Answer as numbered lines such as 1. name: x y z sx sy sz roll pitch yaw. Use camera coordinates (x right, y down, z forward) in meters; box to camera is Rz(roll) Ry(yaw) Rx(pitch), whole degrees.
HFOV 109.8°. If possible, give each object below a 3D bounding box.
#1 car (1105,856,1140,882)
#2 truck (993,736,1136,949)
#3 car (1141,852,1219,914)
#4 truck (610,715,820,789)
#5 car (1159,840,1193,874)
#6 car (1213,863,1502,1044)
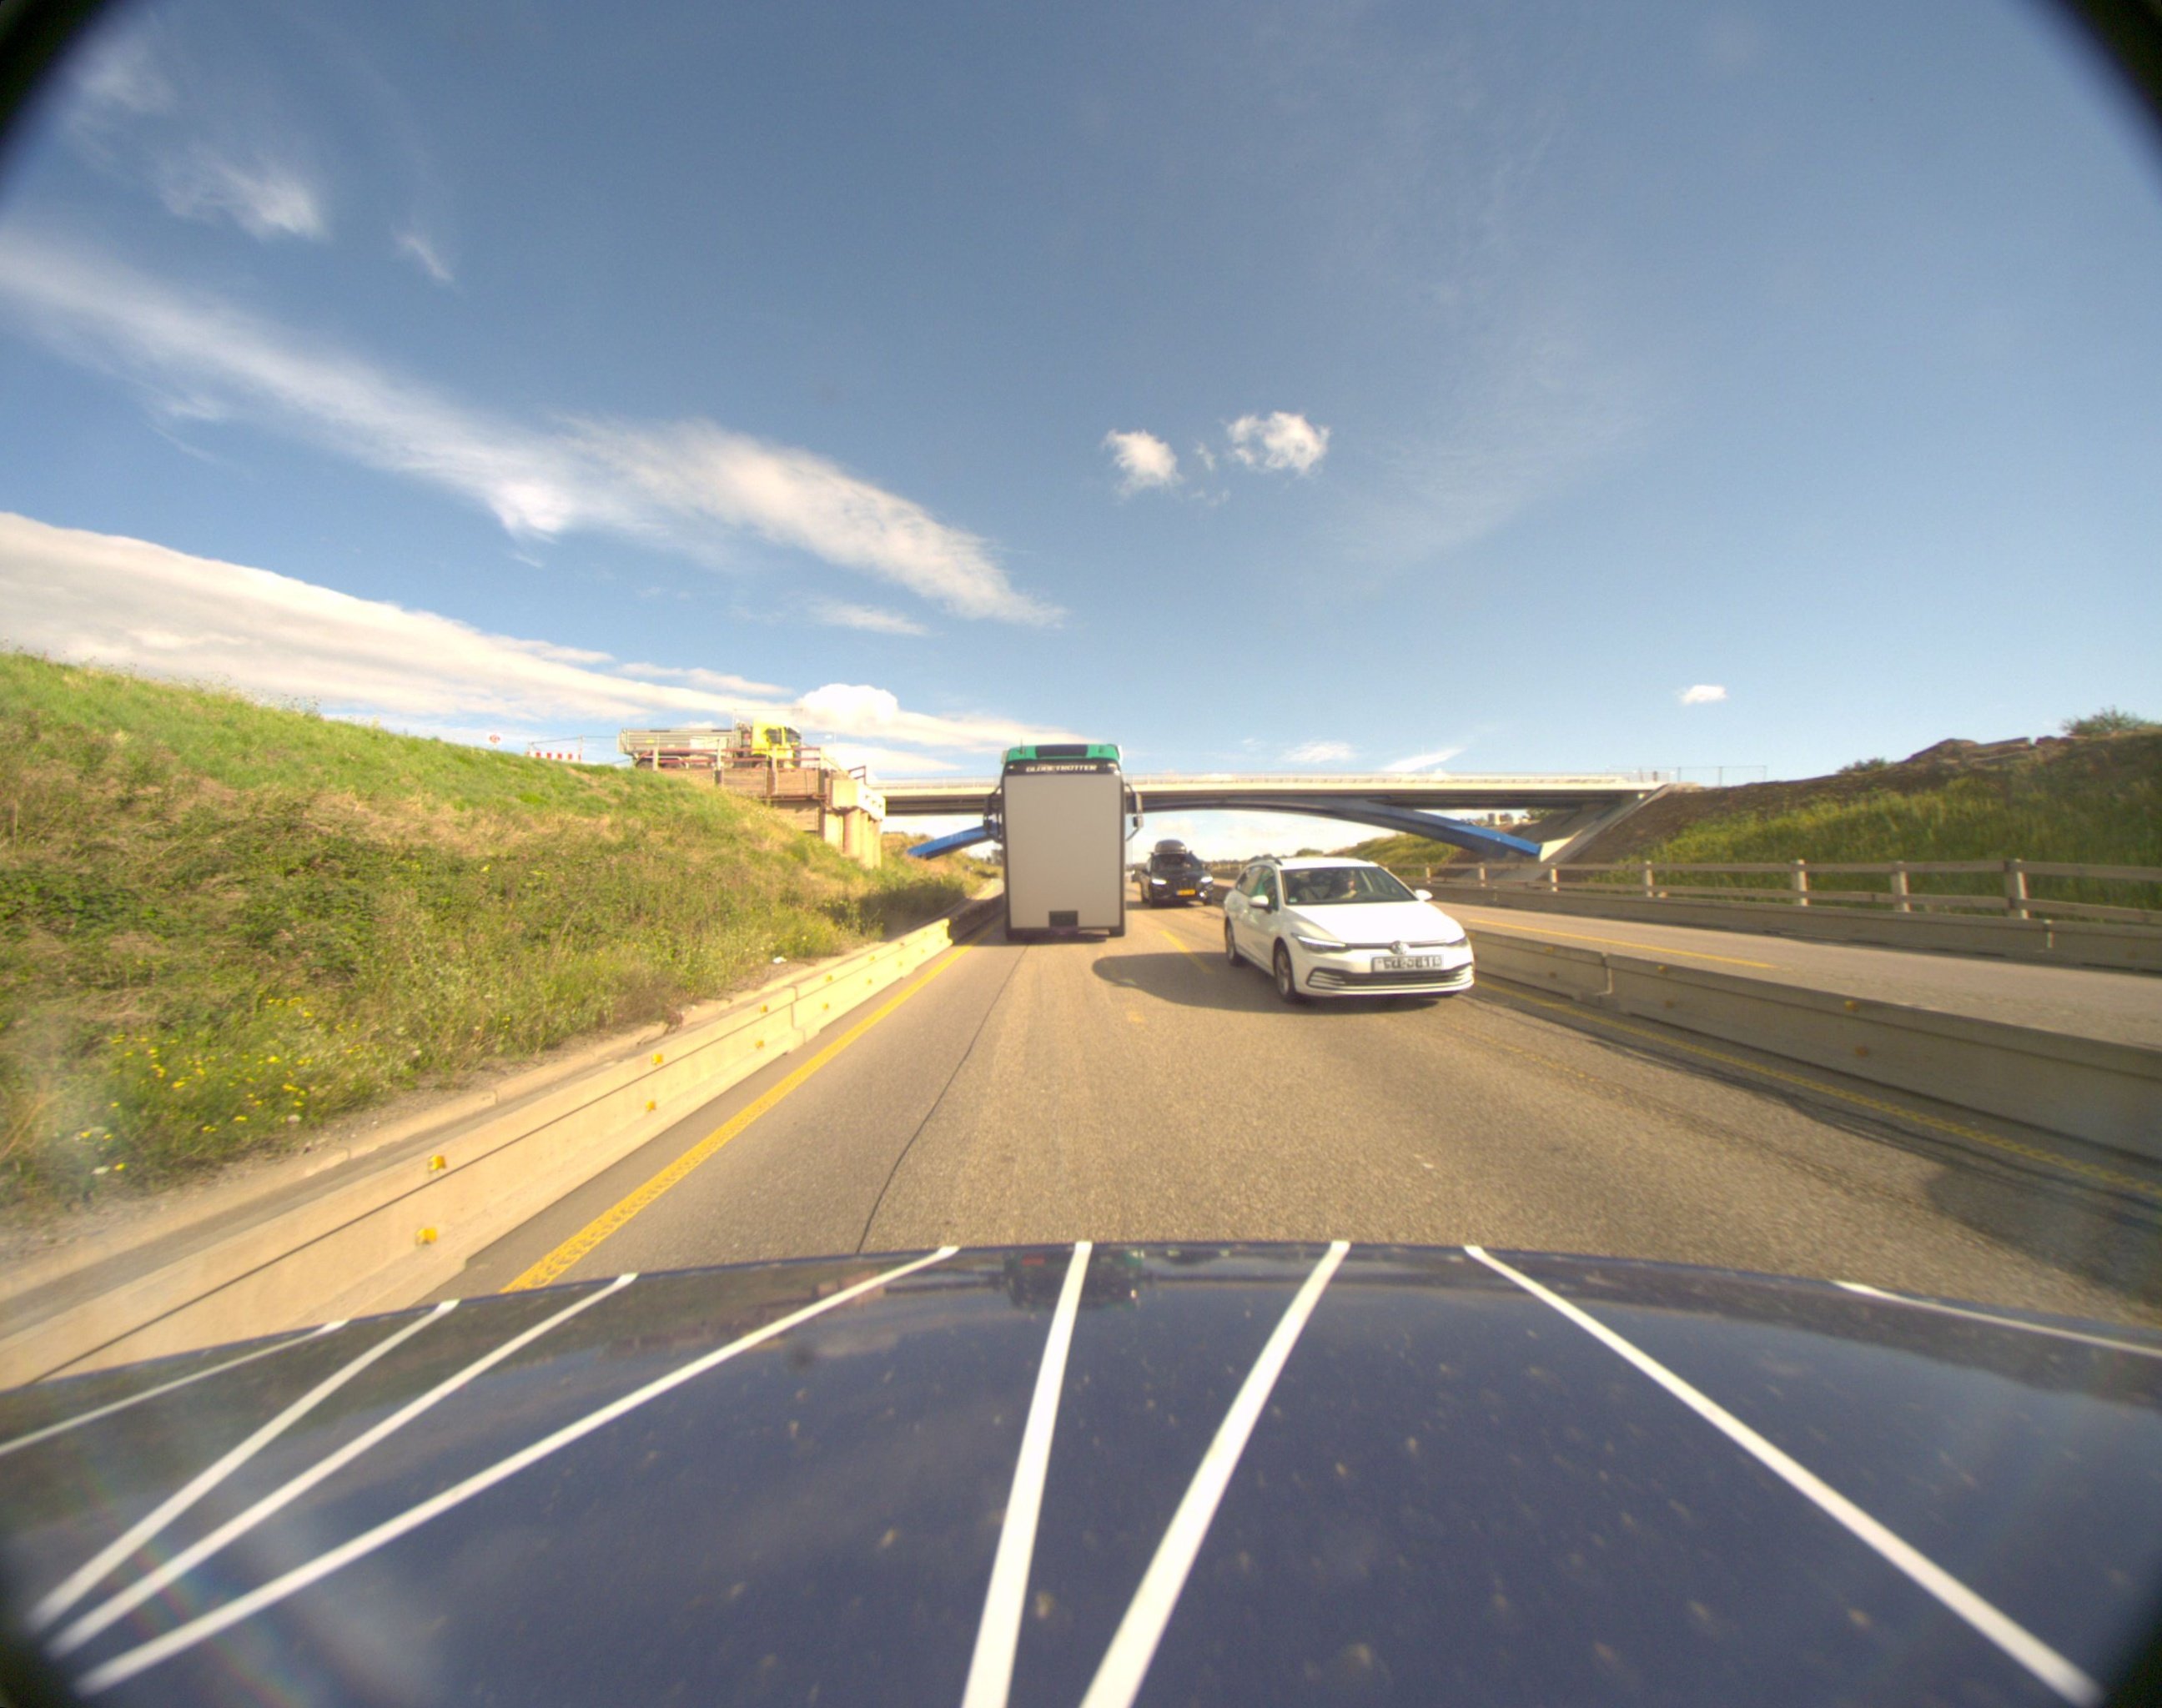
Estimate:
1. car: 2.552 0.928 47.482 1.855 1.488 4.300 -2 0 -1
2. truck: -0.302 -0.206 18.250 2.546 3.899 8.279 -2 0 0
3. car: 2.965 0.818 23.678 1.855 1.667 4.260 -3 0 1
4. truck: -18.785 -5.236 39.464 9.289 3.209 2.959 -2 0 -3
5. car: 8.318 0.251 66.807 2.115 2.819 6.137 1 0 0
6. car: 2.852 0.920 8.976 1.825 1.487 4.374 -2 0 1
